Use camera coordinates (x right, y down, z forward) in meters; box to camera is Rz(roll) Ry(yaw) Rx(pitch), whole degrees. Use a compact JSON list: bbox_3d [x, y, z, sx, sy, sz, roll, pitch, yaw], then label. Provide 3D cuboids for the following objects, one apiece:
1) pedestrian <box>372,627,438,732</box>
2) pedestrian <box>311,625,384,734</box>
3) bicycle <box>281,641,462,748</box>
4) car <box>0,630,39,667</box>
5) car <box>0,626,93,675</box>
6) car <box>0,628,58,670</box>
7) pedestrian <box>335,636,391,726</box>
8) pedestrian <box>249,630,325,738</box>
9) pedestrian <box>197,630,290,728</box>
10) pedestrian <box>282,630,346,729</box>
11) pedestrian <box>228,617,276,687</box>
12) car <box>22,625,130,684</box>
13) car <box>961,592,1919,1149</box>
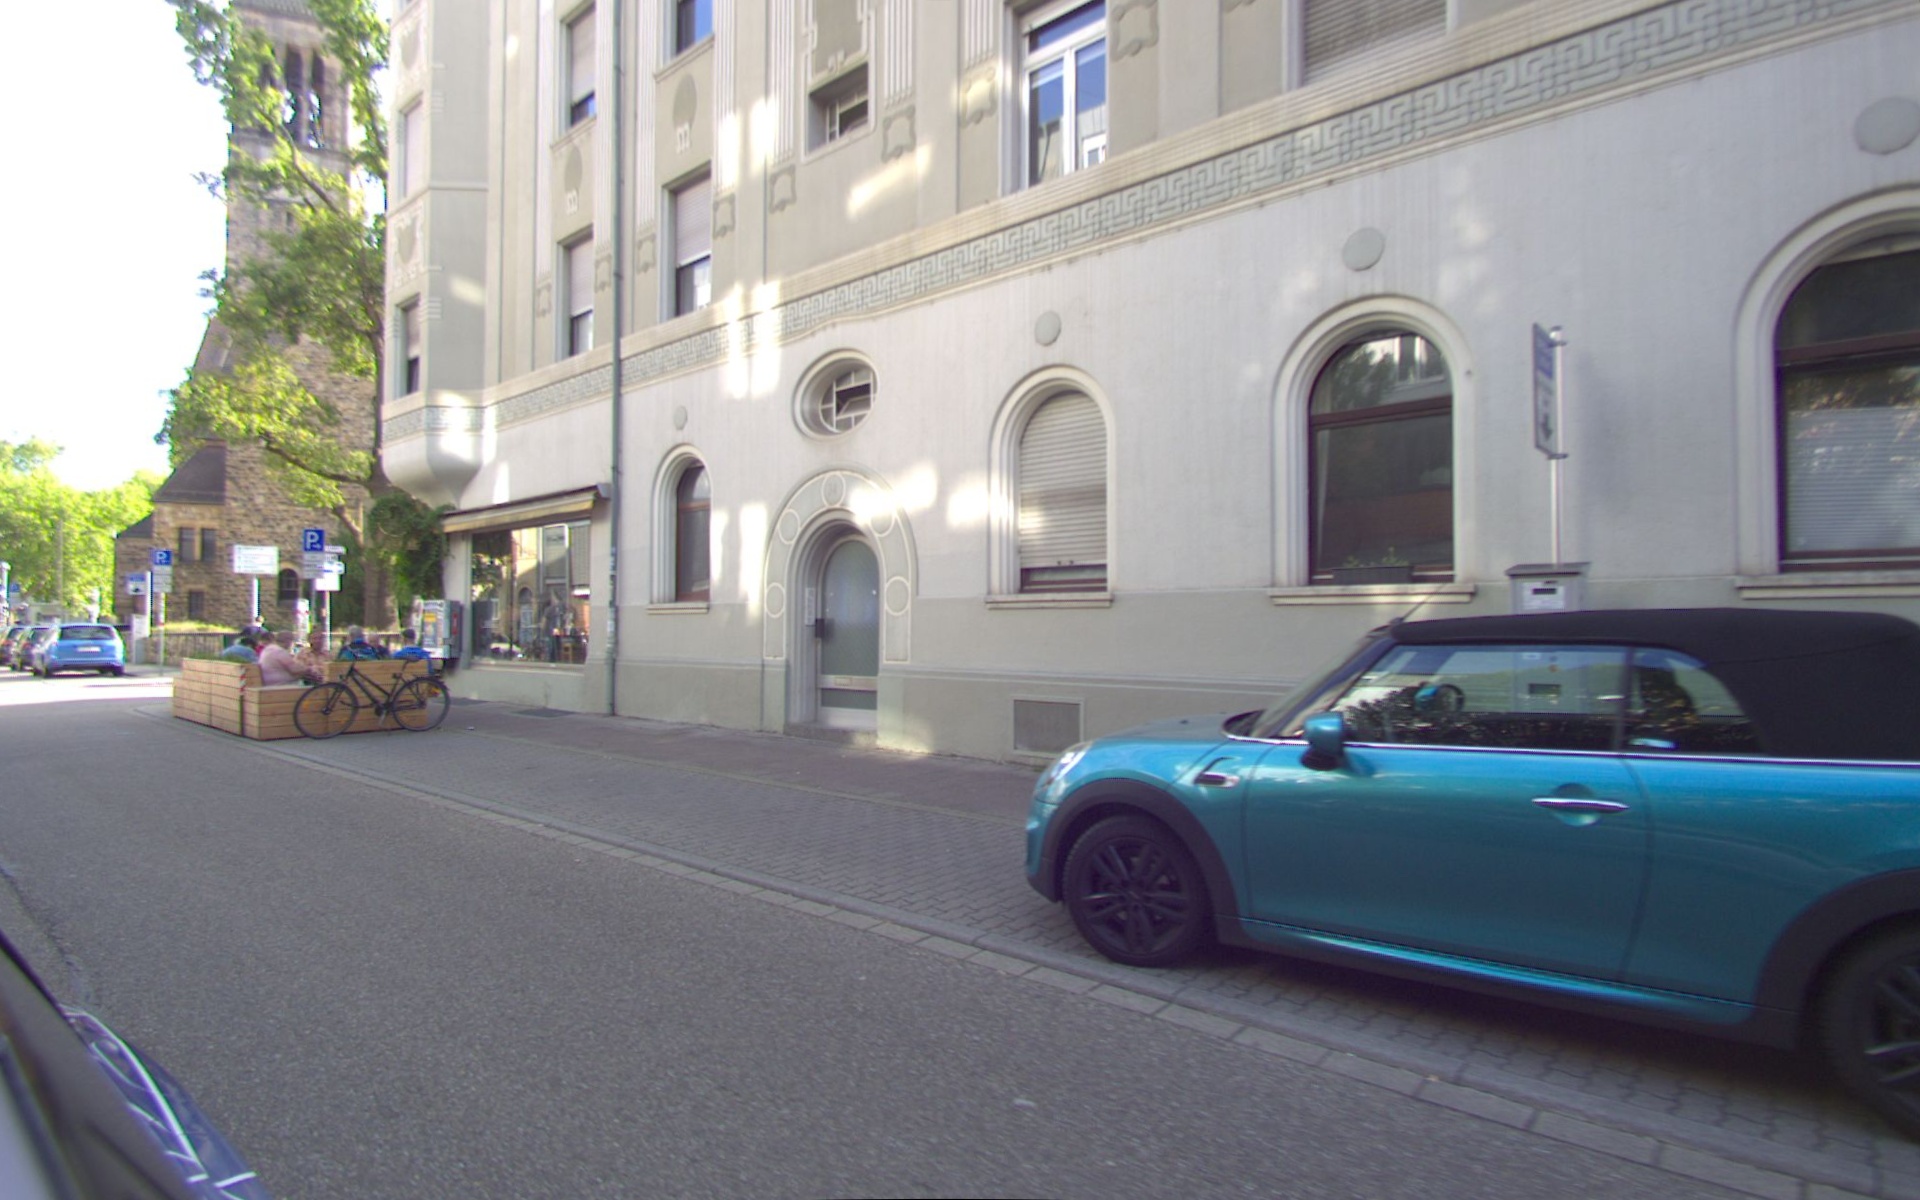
[{"bbox_3d":[-7.597,1.065,13.861,0.628,1.383,0.684,0,-1,-45],"label":"pedestrian"},{"bbox_3d":[-8.122,1.030,13.423,0.680,1.383,0.740,0,-1,-45],"label":"pedestrian"},{"bbox_3d":[-7.320,1.137,12.654,0.688,1.184,1.847,-2,-1,43],"label":"bicycle"},{"bbox_3d":[-39.156,1.977,41.348,3.999,1.431,1.886,-2,-1,42],"label":"car"},{"bbox_3d":[-29.410,1.587,32.506,3.999,1.431,1.886,-2,-1,42],"label":"car"},{"bbox_3d":[-34.245,1.738,36.697,3.999,1.431,1.886,-2,-1,42],"label":"car"},{"bbox_3d":[-8.671,1.158,14.694,0.589,1.253,0.694,0,-1,-42],"label":"pedestrian"},{"bbox_3d":[-8.911,1.090,13.398,0.644,1.359,0.729,-2,-1,44],"label":"pedestrian"},{"bbox_3d":[-10.778,1.151,15.214,1.073,1.383,0.896,0,-1,-40],"label":"pedestrian"},{"bbox_3d":[-9.149,1.101,14.334,0.658,1.346,0.740,0,-1,-42],"label":"pedestrian"},{"bbox_3d":[-17.975,1.304,25.698,0.879,1.722,0.834,-2,-1,42],"label":"pedestrian"},{"bbox_3d":[-24.900,1.487,28.458,4.168,1.497,1.804,-2,-1,42],"label":"car"},{"bbox_3d":[2.087,0.717,3.946,4.007,1.426,1.653,-2,-1,38],"label":"car"}]
